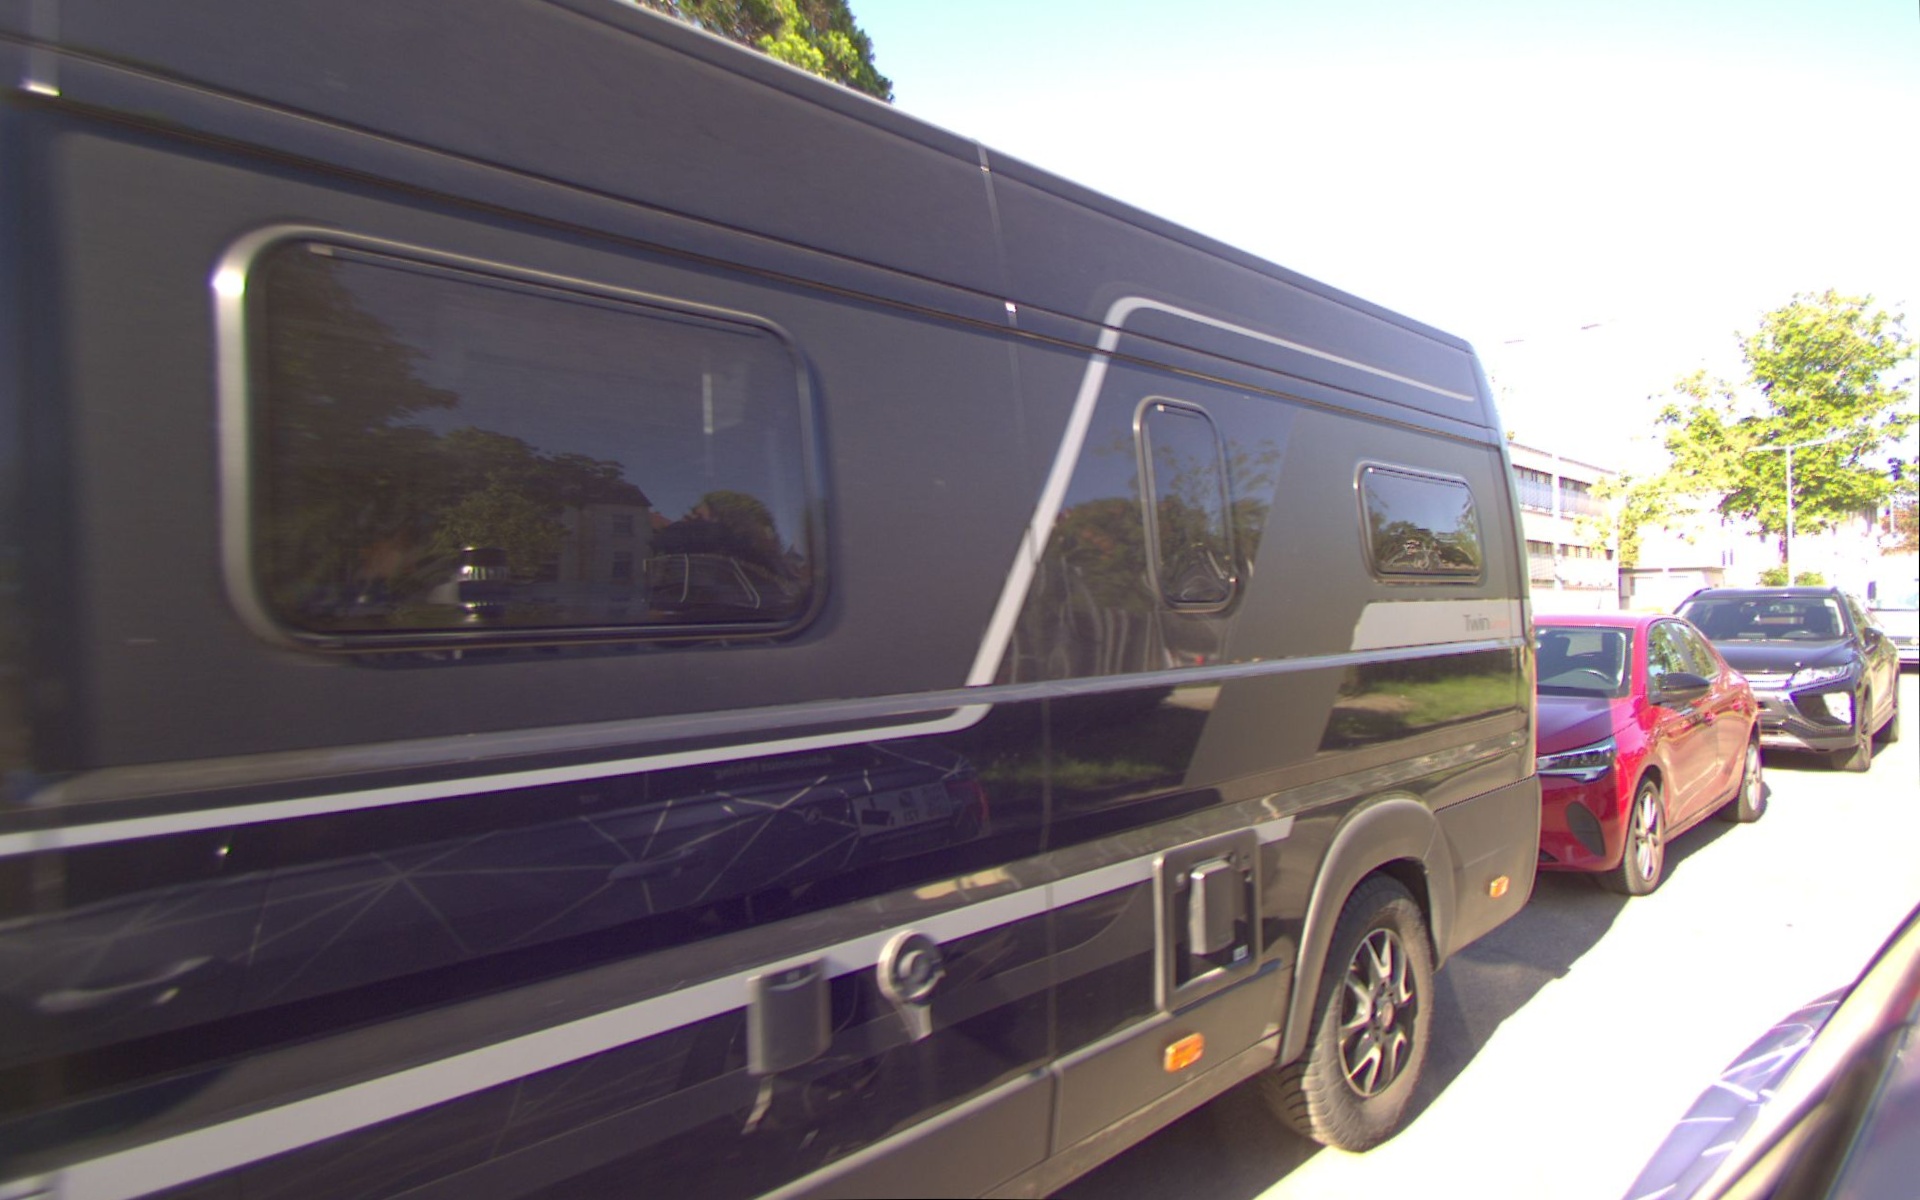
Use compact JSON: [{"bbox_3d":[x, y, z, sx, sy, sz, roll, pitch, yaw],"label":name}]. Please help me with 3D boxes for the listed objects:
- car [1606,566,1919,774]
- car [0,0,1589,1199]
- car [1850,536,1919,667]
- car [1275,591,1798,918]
[{"bbox_3d":[8.314,0.546,10.257,4.426,1.661,1.848,-1,0,-42],"label":"car"},{"bbox_3d":[-0.816,0.182,2.278,6.421,2.547,2.118,-1,0,-42],"label":"car"},{"bbox_3d":[21.163,0.001,21.787,5.337,2.607,2.244,0,-1,-41],"label":"car"},{"bbox_3d":[3.898,0.693,6.571,3.881,1.473,1.797,-1,0,-42],"label":"car"}]
